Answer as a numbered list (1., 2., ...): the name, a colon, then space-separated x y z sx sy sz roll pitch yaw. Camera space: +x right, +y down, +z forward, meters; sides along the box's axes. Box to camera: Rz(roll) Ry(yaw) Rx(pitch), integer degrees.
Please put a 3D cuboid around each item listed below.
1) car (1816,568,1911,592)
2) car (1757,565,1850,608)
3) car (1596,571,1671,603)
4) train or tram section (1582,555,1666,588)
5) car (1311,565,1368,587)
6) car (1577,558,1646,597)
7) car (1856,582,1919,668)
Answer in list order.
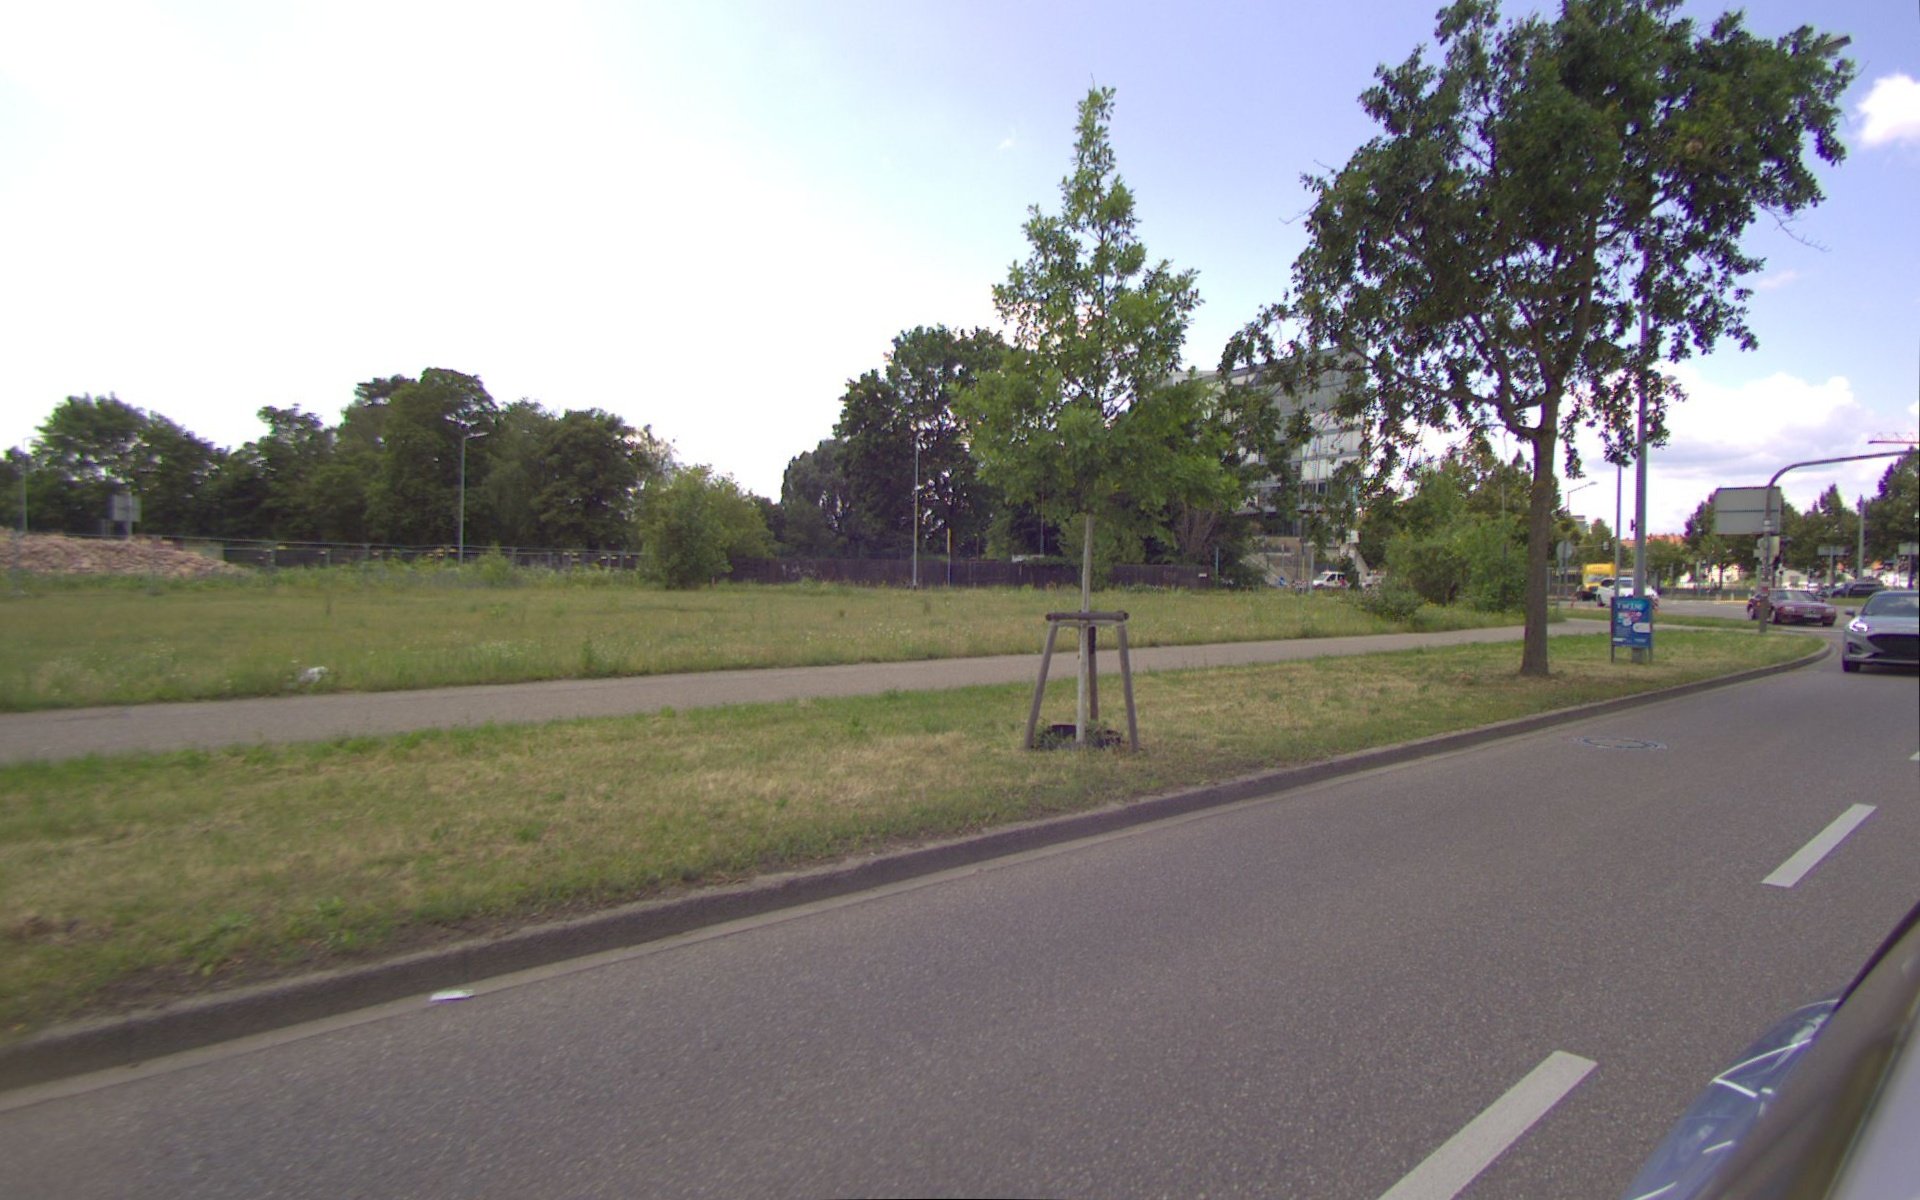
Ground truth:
1. car: 68.330 -1.532 76.644 5.029 1.695 1.979 1 1 31
2. car: 31.067 -0.479 37.395 1.659 1.277 4.053 4 -1 26
3. car: 35.759 -0.698 53.826 1.647 1.618 4.119 -1 1 8
4. train or tram section: 80.177 -3.412 122.698 2.803 3.786 13.451 1 1 7
5. car: 38.339 -2.398 102.308 5.044 2.174 2.153 0 1 -11
6. car: 50.160 -1.699 77.872 7.125 2.888 2.284 0 2 -39
7. car: 18.491 0.425 19.324 4.023 1.489 1.672 -1 2 -43
